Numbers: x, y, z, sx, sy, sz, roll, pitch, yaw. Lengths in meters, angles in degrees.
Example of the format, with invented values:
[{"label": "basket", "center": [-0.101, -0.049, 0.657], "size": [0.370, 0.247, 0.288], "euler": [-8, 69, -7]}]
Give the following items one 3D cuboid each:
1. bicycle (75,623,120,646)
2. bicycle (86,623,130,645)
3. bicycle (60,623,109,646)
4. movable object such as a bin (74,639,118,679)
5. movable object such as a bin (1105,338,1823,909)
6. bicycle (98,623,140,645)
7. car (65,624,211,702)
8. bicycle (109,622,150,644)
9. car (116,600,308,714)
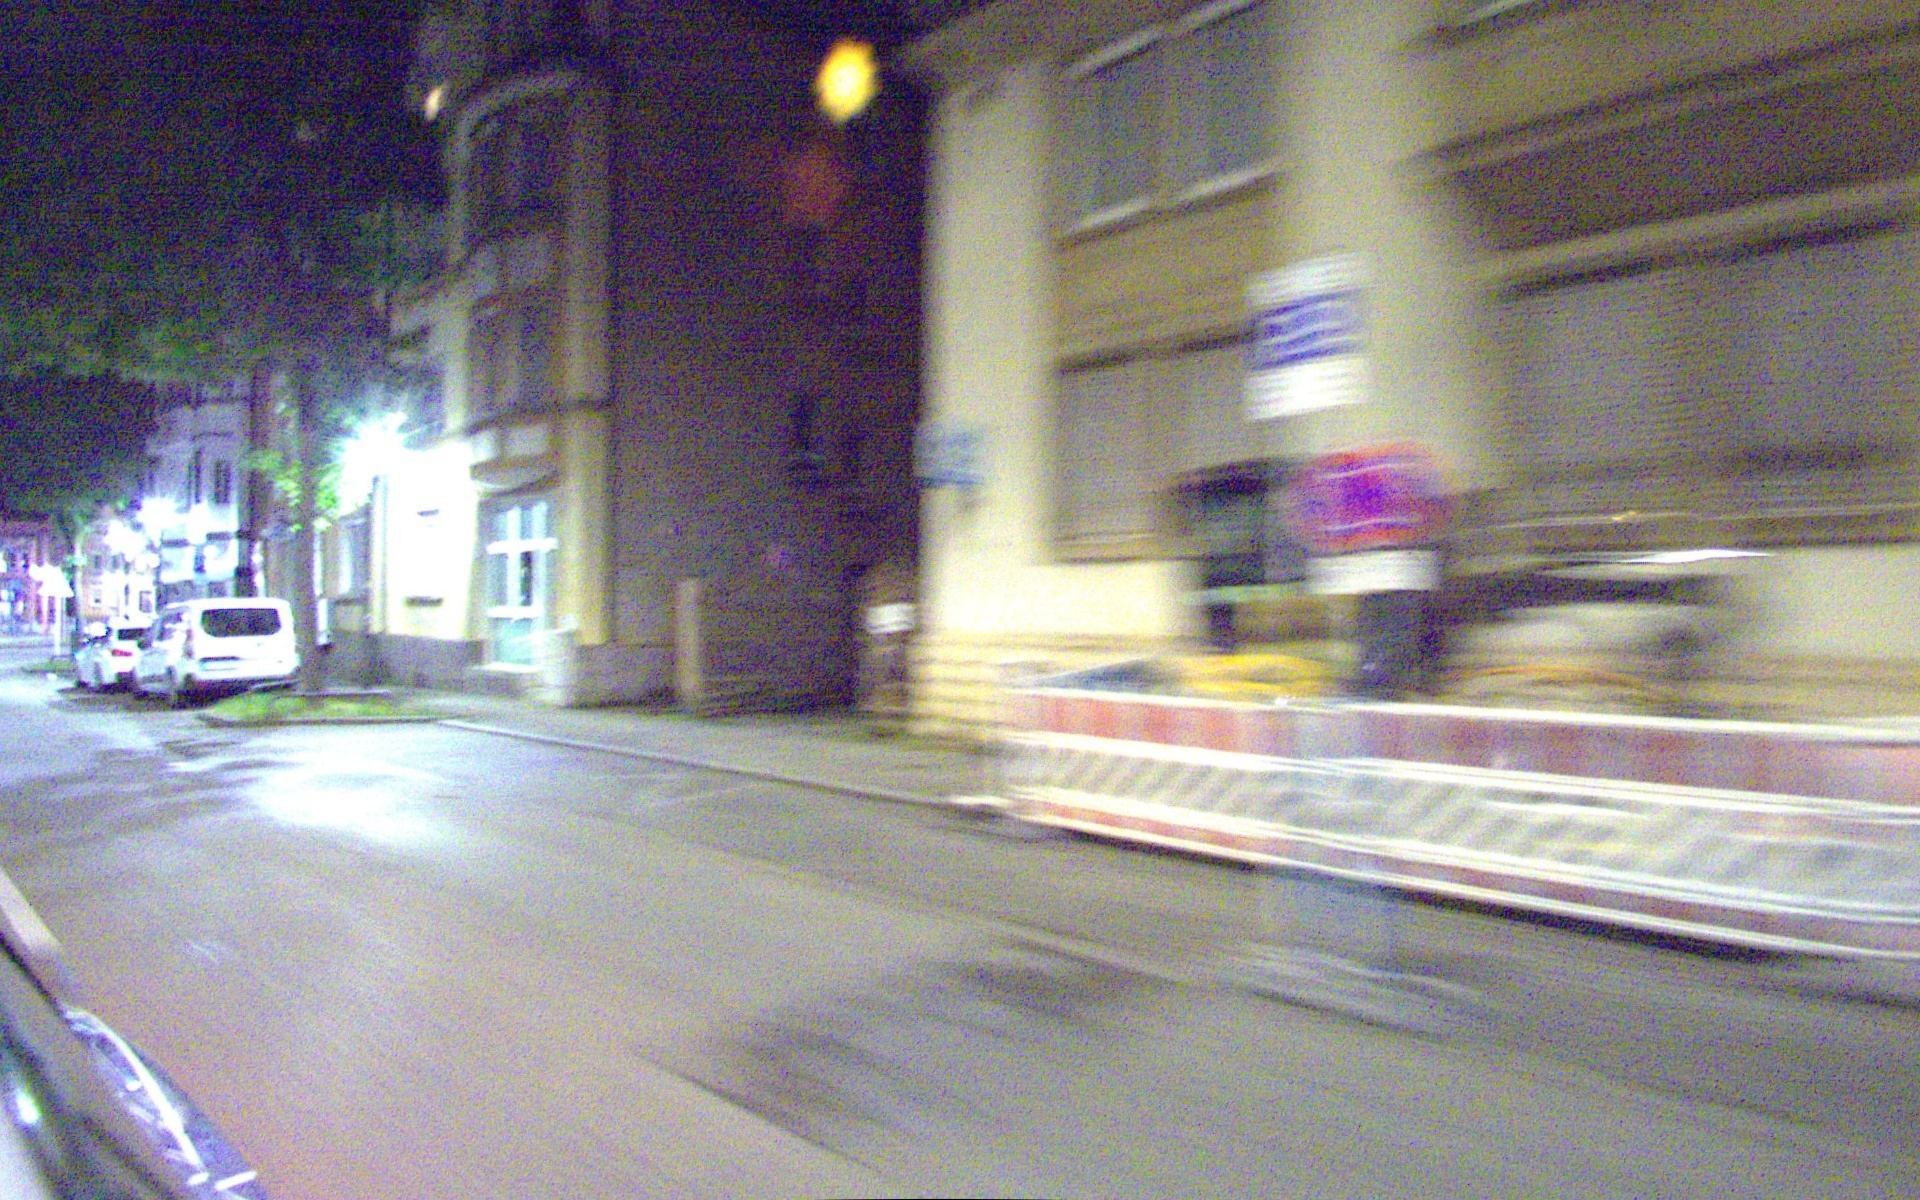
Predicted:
[{"label": "bicycle", "center": [-44.847, 1.778, 52.641], "size": [1.750, 1.160, 0.615], "euler": [0, -1, -6]}, {"label": "bicycle", "center": [-44.897, 1.803, 53.321], "size": [1.750, 1.160, 0.583], "euler": [0, -1, -6]}, {"label": "bicycle", "center": [-44.826, 1.758, 51.828], "size": [1.760, 1.160, 0.761], "euler": [0, -1, -6]}, {"label": "movable object such as a bin", "center": [-23.620, 1.606, 27.680], "size": [0.617, 1.057, 0.689], "euler": [0, 1, 1]}, {"label": "movable object such as a bin", "center": [3.007, 0.142, 6.590], "size": [3.909, 2.647, 1.554], "euler": [-1, -2, 42]}, {"label": "bicycle", "center": [-44.943, 1.807, 54.100], "size": [1.752, 1.160, 0.582], "euler": [0, -1, 0]}, {"label": "car", "center": [-18.258, 1.297, 22.398], "size": [4.880, 1.461, 1.819], "euler": [0, 0, 42]}, {"label": "bicycle", "center": [-44.948, 1.791, 54.761], "size": [1.752, 1.160, 0.582], "euler": [0, -1, 0]}, {"label": "car", "center": [-13.997, 0.970, 18.831], "size": [4.811, 1.857, 1.863], "euler": [-1, -1, 41]}]
